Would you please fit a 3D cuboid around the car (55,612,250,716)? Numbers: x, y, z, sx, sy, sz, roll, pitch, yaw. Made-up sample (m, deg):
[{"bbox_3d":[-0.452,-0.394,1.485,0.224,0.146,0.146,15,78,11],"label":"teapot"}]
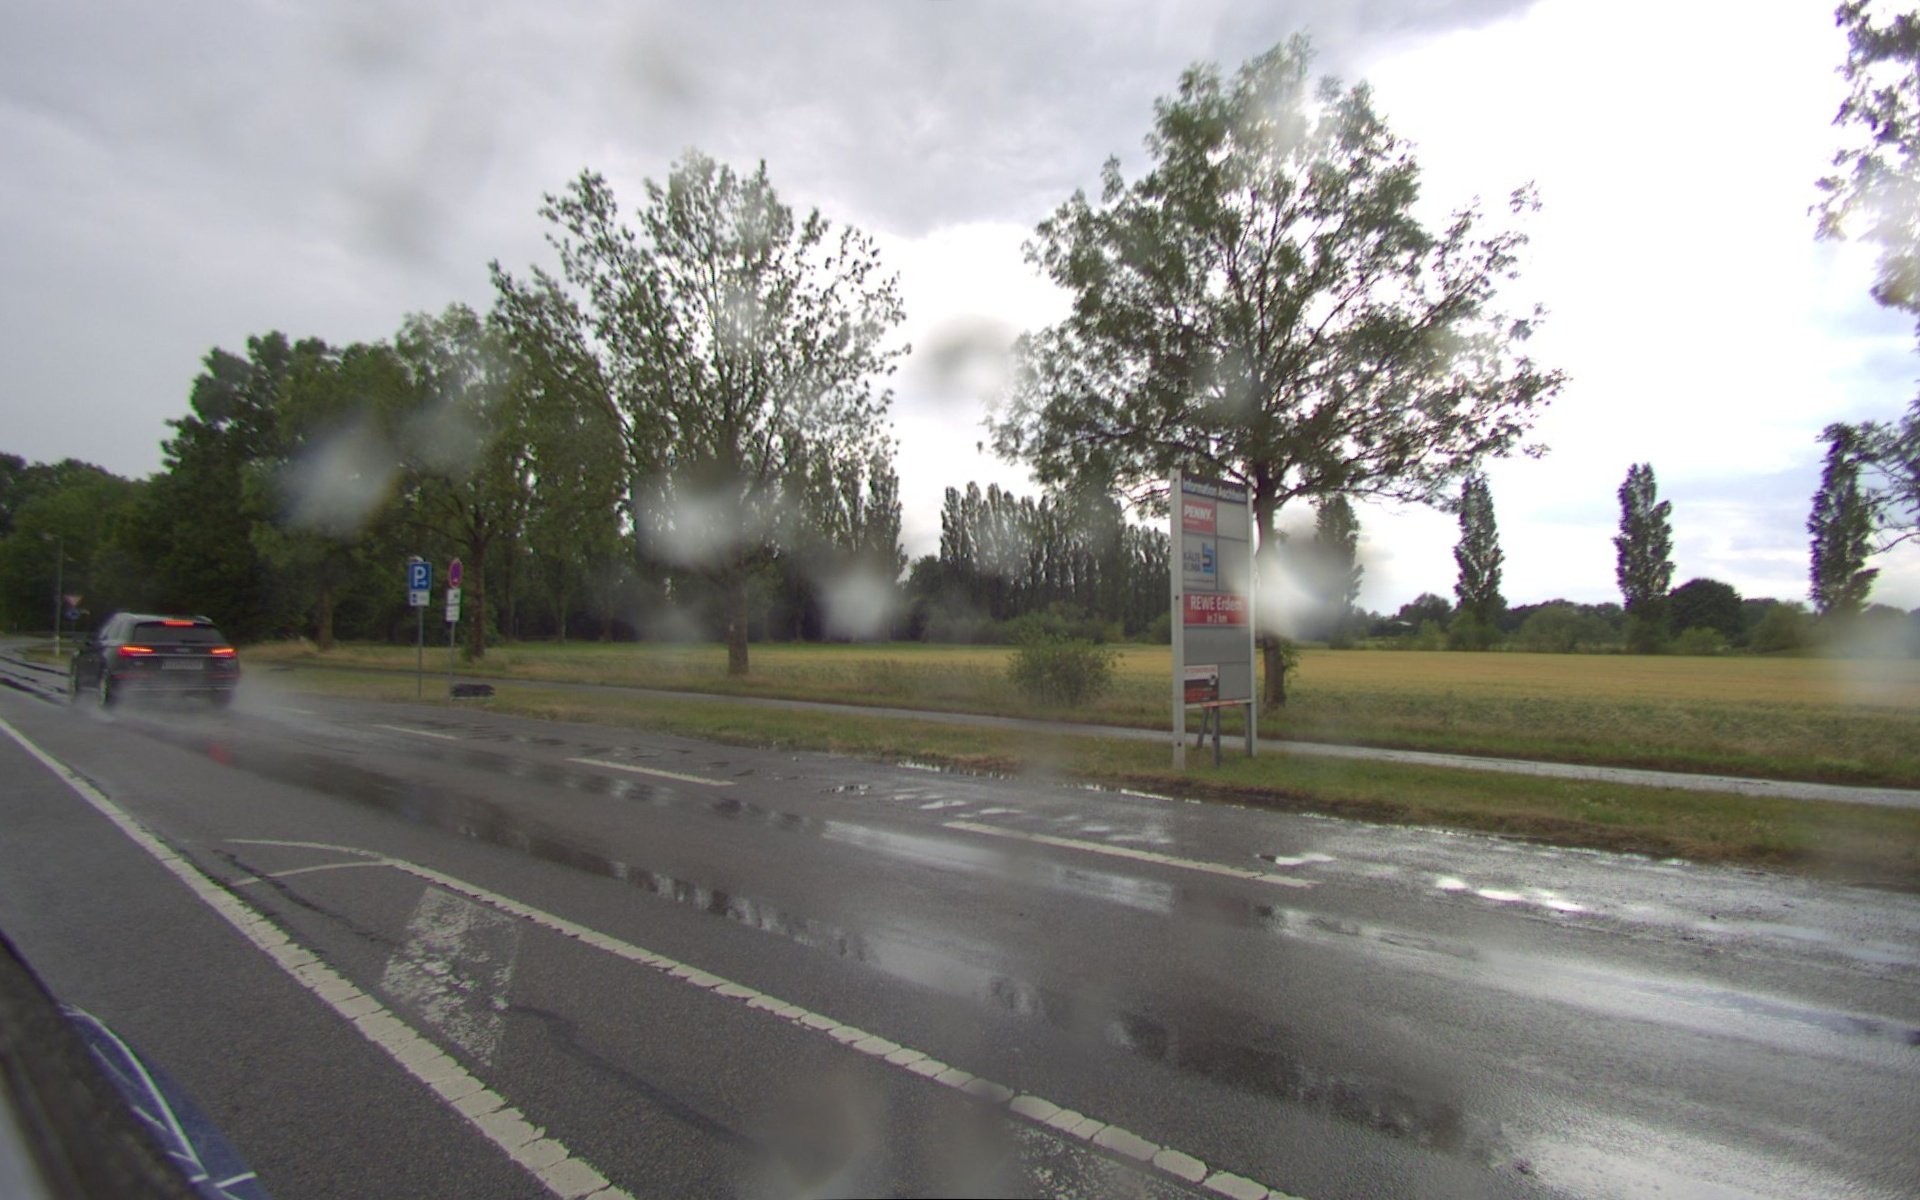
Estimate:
[{"bbox_3d":[-14.597,1.123,18.215,4.355,1.644,1.896,-1,-6,41],"label":"car"}]
